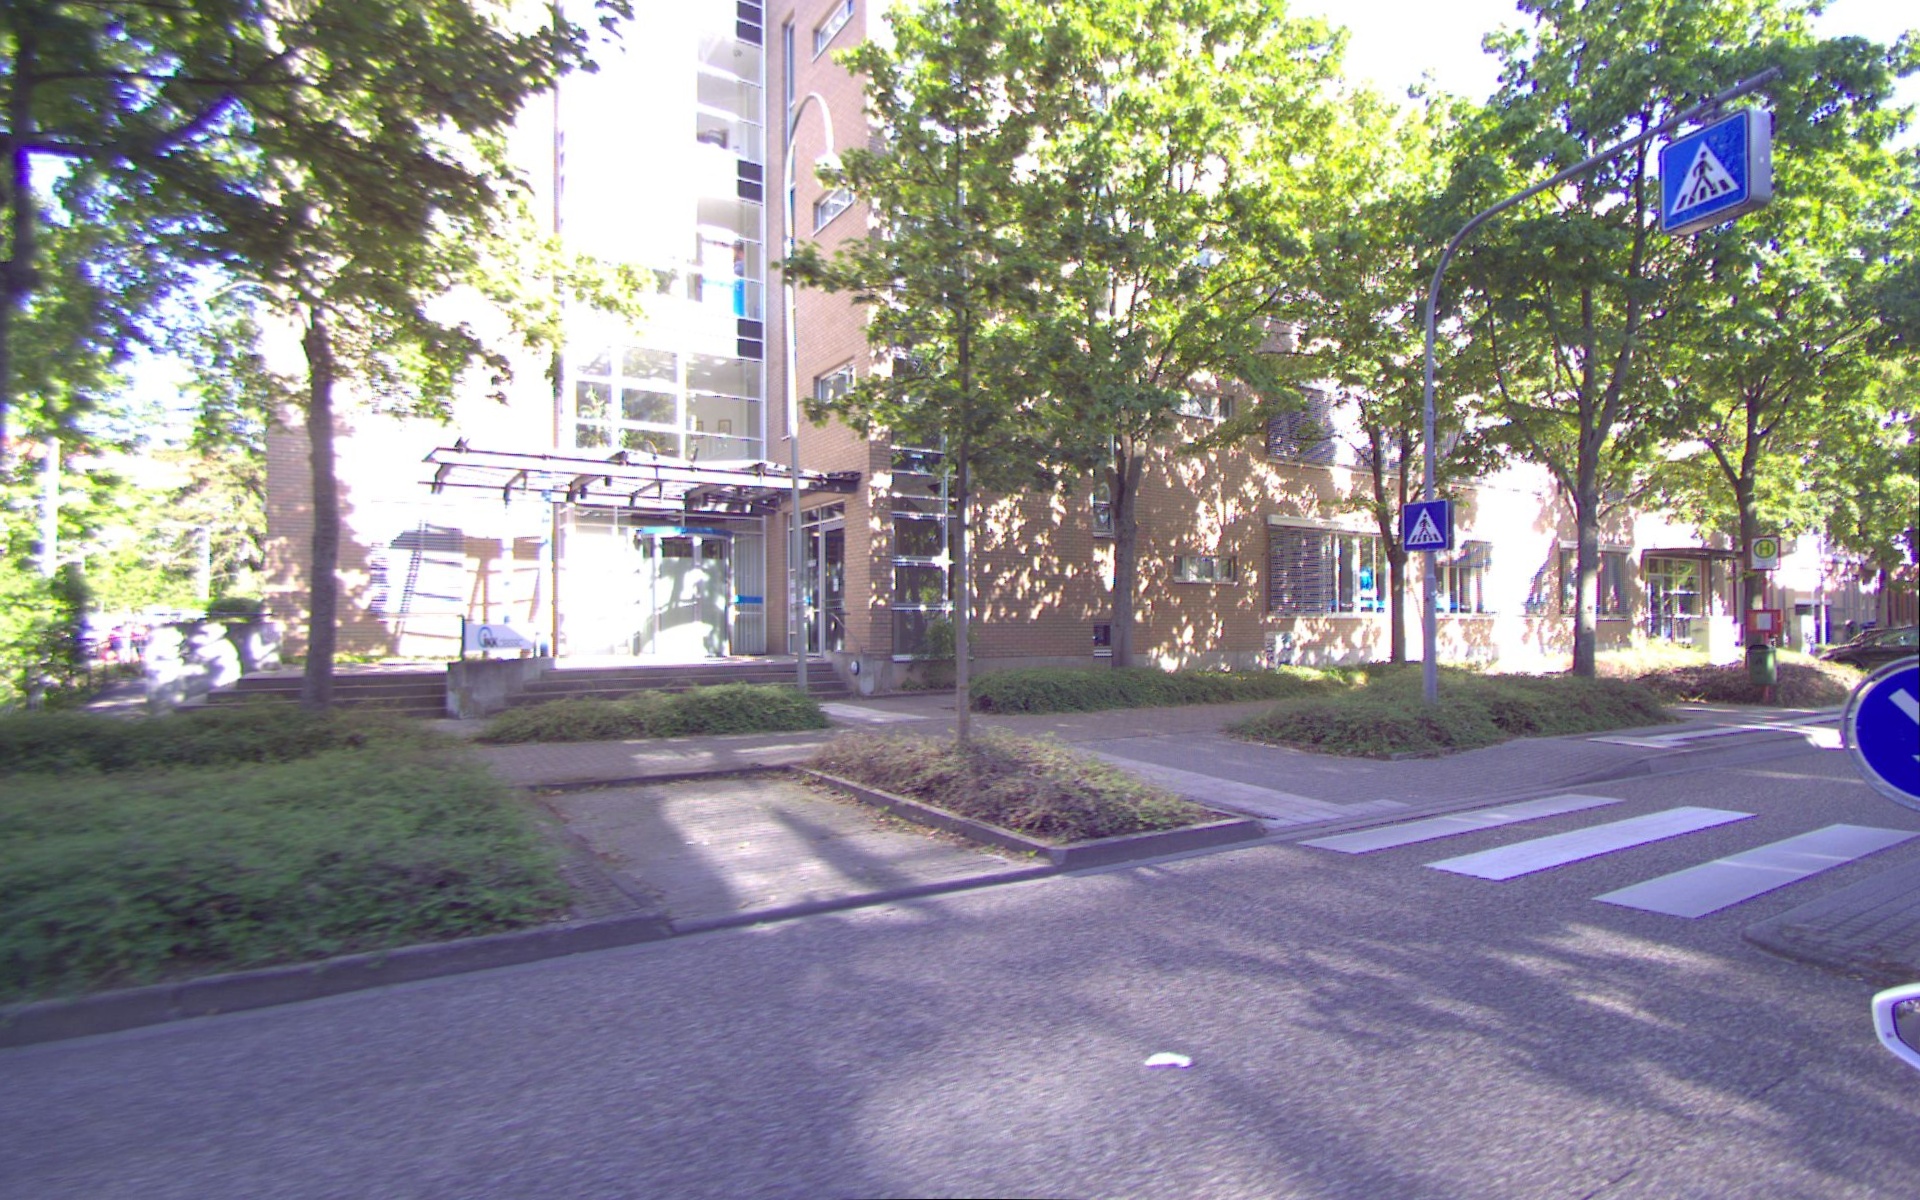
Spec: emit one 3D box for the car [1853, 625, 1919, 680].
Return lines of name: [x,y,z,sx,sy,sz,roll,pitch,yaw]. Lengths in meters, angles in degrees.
car: [26.389,1.418,26.342,1.782,1.421,4.125,1,0,-34]

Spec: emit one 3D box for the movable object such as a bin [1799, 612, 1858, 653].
movable object such as a bin: [39.711,1.493,45.915,1.645,1.820,1.591,0,-2,-31]

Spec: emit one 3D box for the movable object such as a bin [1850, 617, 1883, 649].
movable object such as a bin: [44.709,1.617,49.548,1.237,1.583,1.133,1,-2,-45]

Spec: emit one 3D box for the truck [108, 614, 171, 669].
truck: [-40.373,2.052,49.515,1.979,2.574,3.964,1,-3,-33]

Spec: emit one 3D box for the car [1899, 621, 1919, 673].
car: [29.008,1.365,28.082,1.735,1.472,3.733,0,0,-33]

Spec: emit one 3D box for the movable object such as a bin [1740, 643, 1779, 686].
movable object such as a bin: [14.244,1.138,17.895,0.403,0.740,0.439,1,0,-32]

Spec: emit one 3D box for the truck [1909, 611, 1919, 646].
truck: [79.564,2.224,79.466,2.551,2.740,6.067,1,-2,-34]

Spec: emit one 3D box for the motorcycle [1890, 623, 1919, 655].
motorcycle: [48.145,1.962,51.134,2.088,1.612,0.710,1,-2,-35]

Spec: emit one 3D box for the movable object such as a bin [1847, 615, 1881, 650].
movable object such as a bin: [43.780,1.571,48.628,1.133,1.641,1.433,-2,-2,45]

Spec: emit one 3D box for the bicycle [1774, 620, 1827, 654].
bicycle: [36.583,1.610,43.720,1.701,1.427,0.612,1,0,35]

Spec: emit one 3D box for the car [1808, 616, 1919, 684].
car: [24.061,1.253,25.163,1.709,1.591,3.964,1,0,-33]
